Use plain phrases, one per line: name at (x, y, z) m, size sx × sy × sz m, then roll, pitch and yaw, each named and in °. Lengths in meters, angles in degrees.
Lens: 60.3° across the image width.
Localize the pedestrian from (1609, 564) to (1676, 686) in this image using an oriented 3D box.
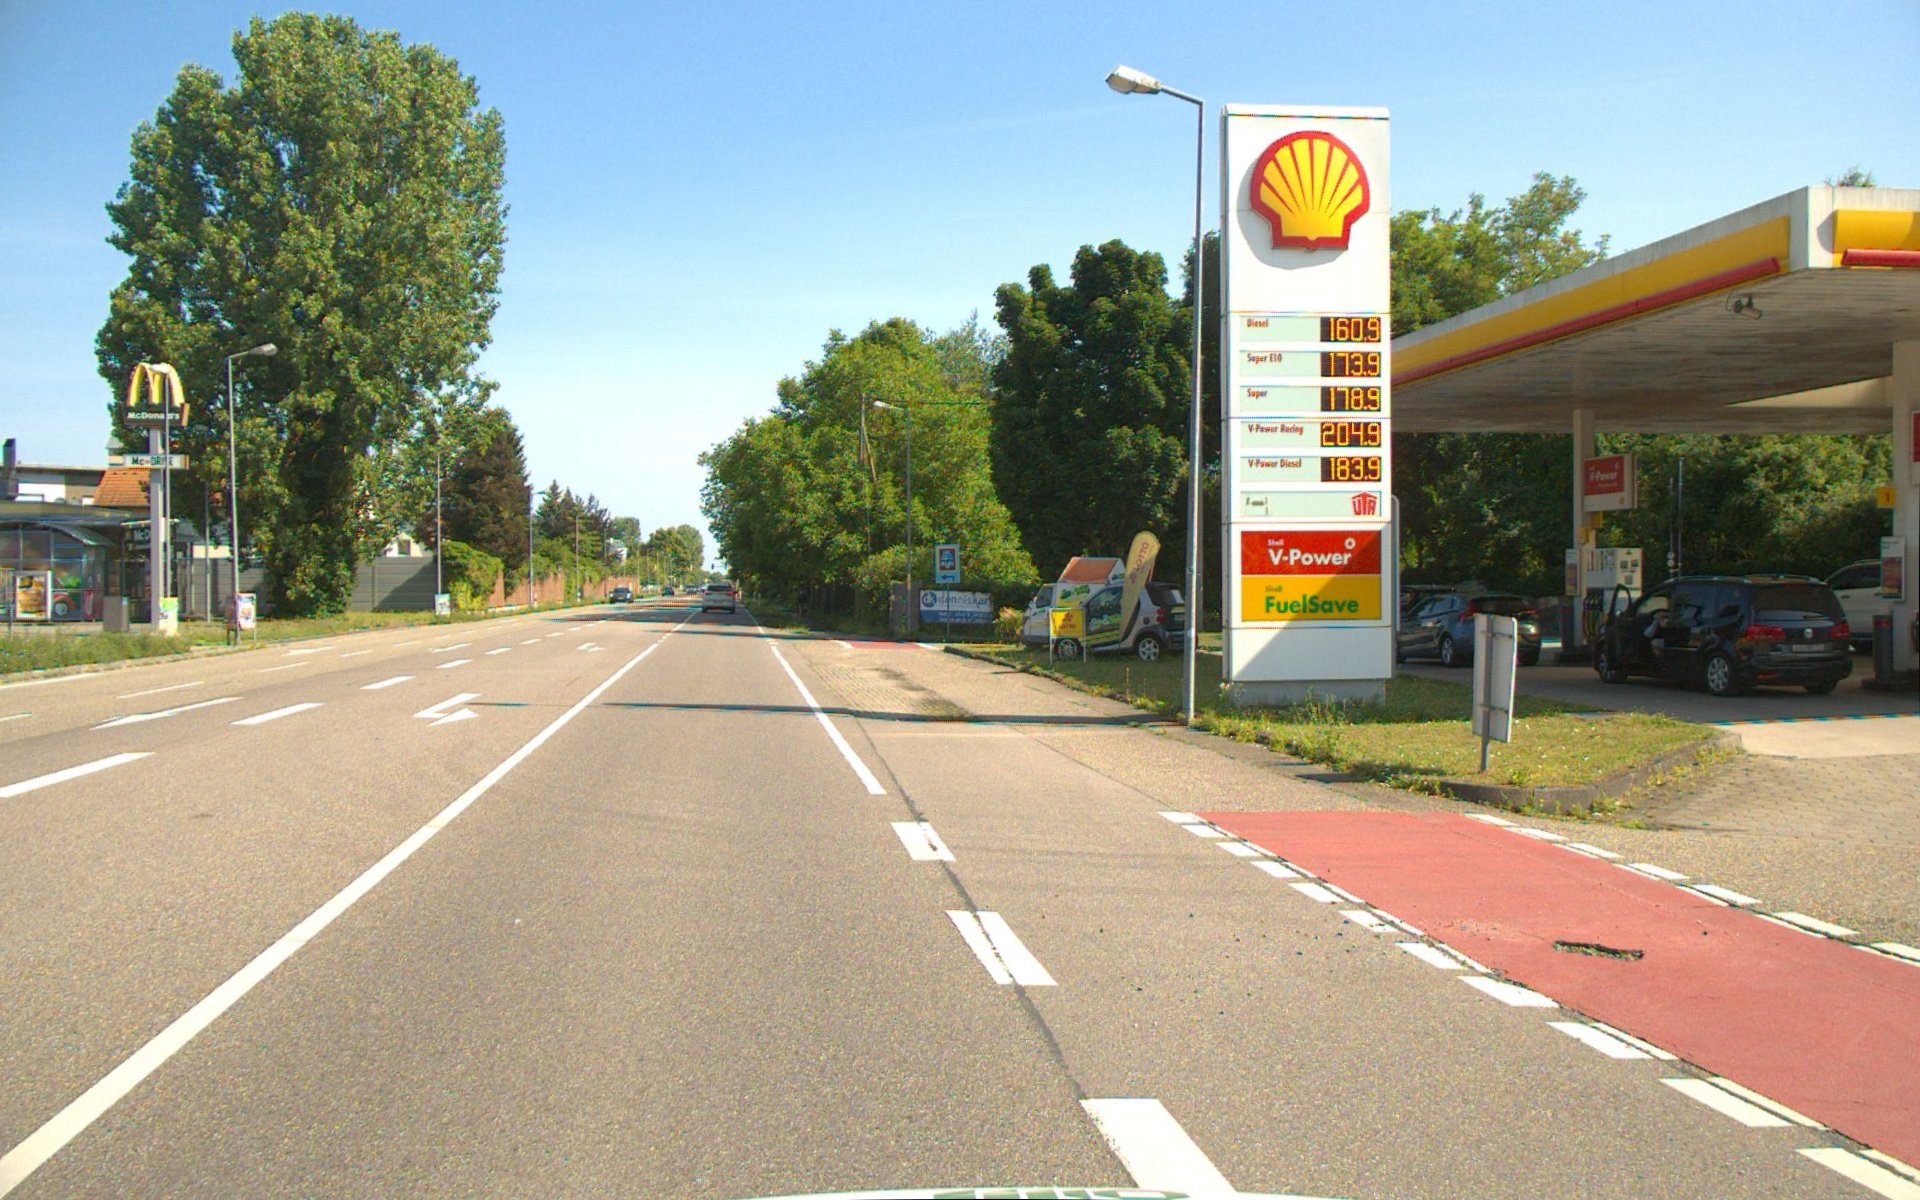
pedestrian at (10.006, 0.355, 24.273) m, size 0.658 × 1.759 × 0.812 m, roll 0°, pitch 0°, yaw 1°

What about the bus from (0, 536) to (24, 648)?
bus at (-24.228, -0.212, 37.178) m, size 2.532 × 2.726 × 8.976 m, roll 1°, pitch 0°, yaw -10°

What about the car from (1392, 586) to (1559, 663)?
car at (9.837, 0.425, 31.869) m, size 1.763 × 1.384 × 3.844 m, roll -1°, pitch 1°, yaw -5°

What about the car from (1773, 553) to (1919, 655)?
car at (18.183, 0.043, 32.215) m, size 1.817 × 1.870 × 4.770 m, roll -1°, pitch 1°, yaw -9°

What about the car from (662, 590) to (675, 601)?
car at (-45.147, -0.658, 256.155) m, size 1.812 × 1.568 × 4.217 m, roll 1°, pitch 0°, yaw -8°

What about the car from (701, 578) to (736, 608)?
car at (-13.452, -0.370, 92.230) m, size 1.812 × 1.568 × 4.217 m, roll 1°, pitch 0°, yaw -8°

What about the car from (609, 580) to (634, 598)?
car at (-30.594, -1.020, 149.409) m, size 1.812 × 1.522 × 4.903 m, roll -2°, pitch 0°, yaw -8°

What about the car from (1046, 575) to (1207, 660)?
car at (3.202, 0.339, 31.830) m, size 2.677 × 1.557 × 1.571 m, roll 0°, pitch -1°, yaw 36°

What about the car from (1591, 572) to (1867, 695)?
car at (10.926, 0.426, 23.810) m, size 1.727 × 1.606 × 3.869 m, roll -1°, pitch 1°, yaw -9°

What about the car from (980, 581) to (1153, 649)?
car at (2.599, 0.376, 40.509) m, size 3.921 × 1.557 × 1.579 m, roll 1°, pitch 0°, yaw -15°
